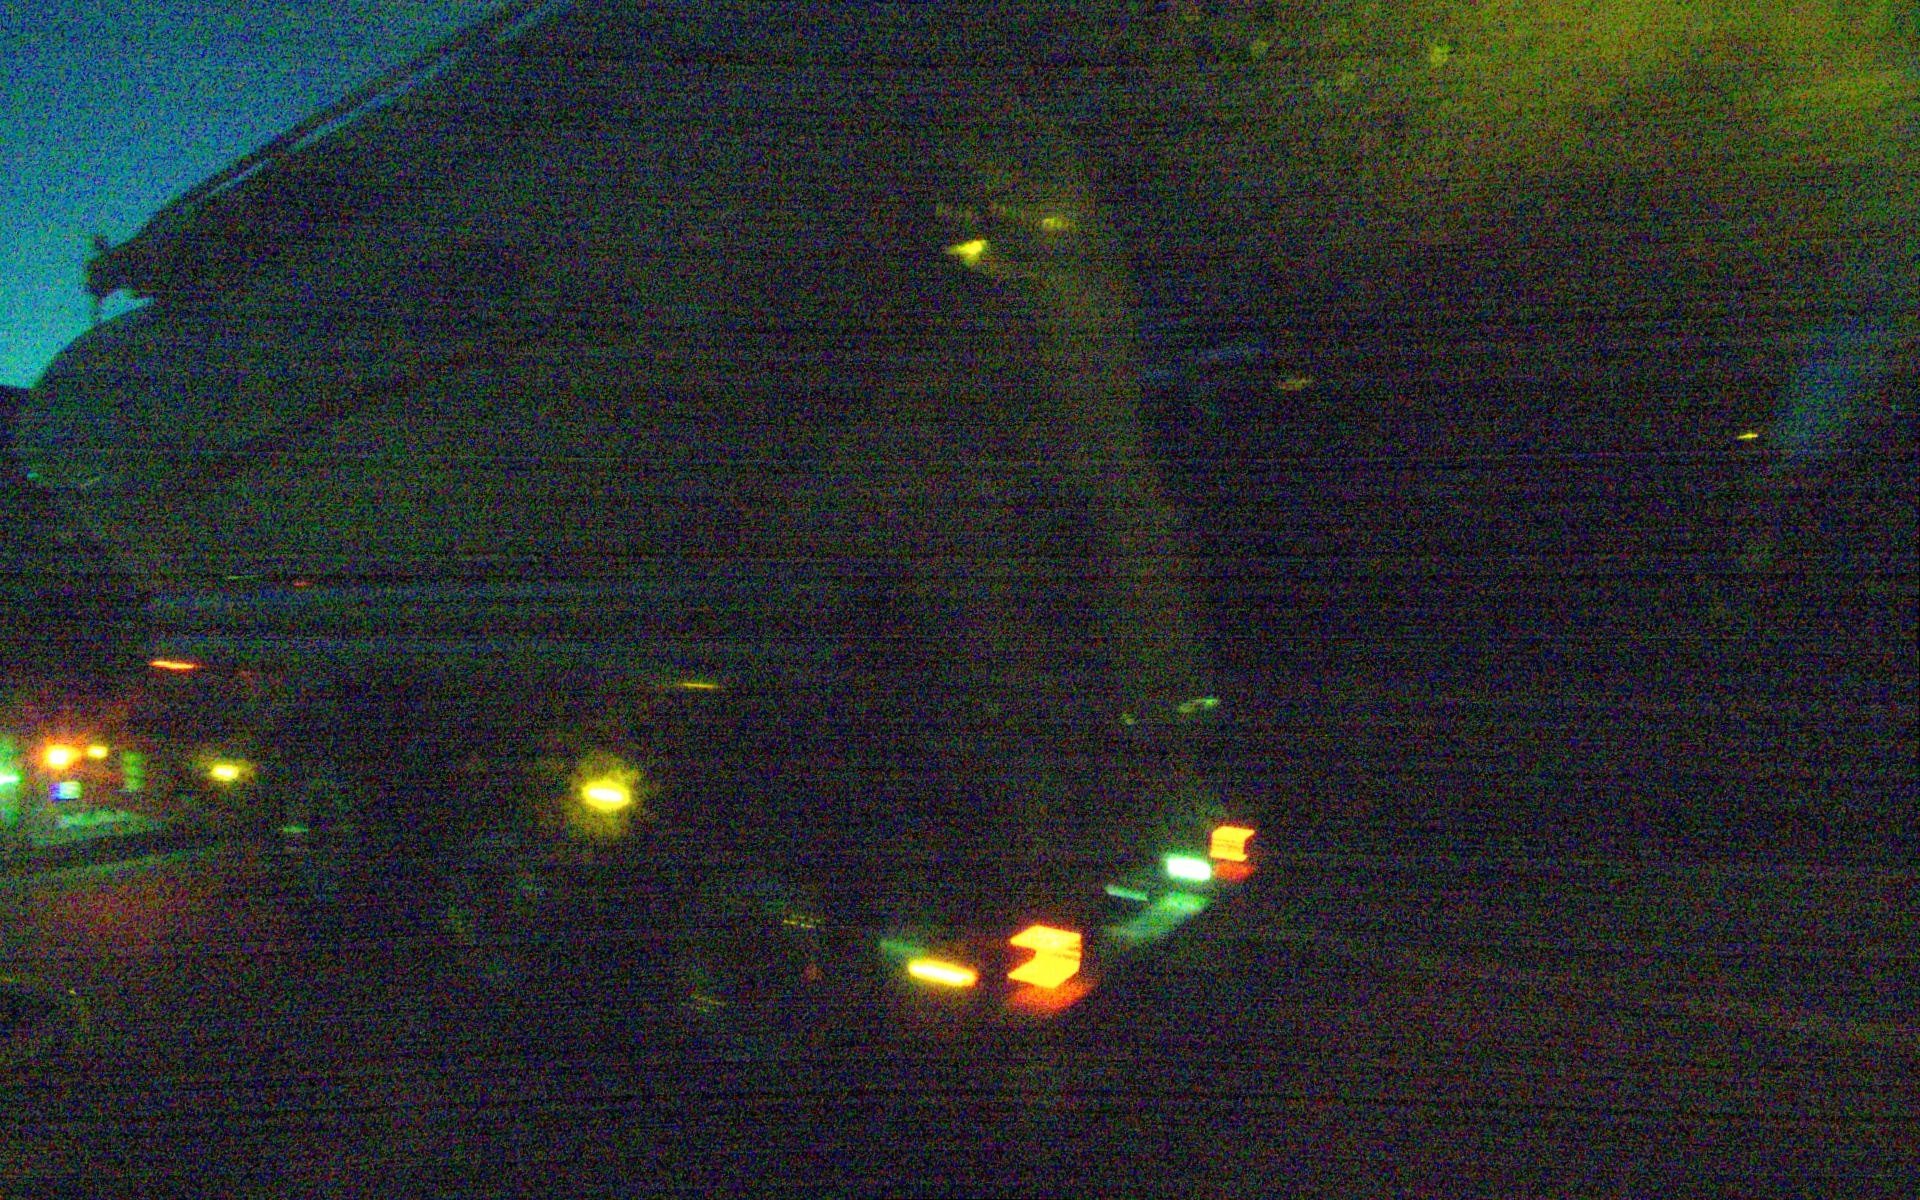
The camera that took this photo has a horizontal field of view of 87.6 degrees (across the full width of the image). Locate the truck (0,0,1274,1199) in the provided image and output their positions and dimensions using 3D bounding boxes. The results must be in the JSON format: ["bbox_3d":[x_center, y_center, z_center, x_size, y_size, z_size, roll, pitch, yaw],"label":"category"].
[{"bbox_3d":[-4.695,-0.387,7.004,12.959,4.159,2.682,-1,-1,34],"label":"truck"}]
